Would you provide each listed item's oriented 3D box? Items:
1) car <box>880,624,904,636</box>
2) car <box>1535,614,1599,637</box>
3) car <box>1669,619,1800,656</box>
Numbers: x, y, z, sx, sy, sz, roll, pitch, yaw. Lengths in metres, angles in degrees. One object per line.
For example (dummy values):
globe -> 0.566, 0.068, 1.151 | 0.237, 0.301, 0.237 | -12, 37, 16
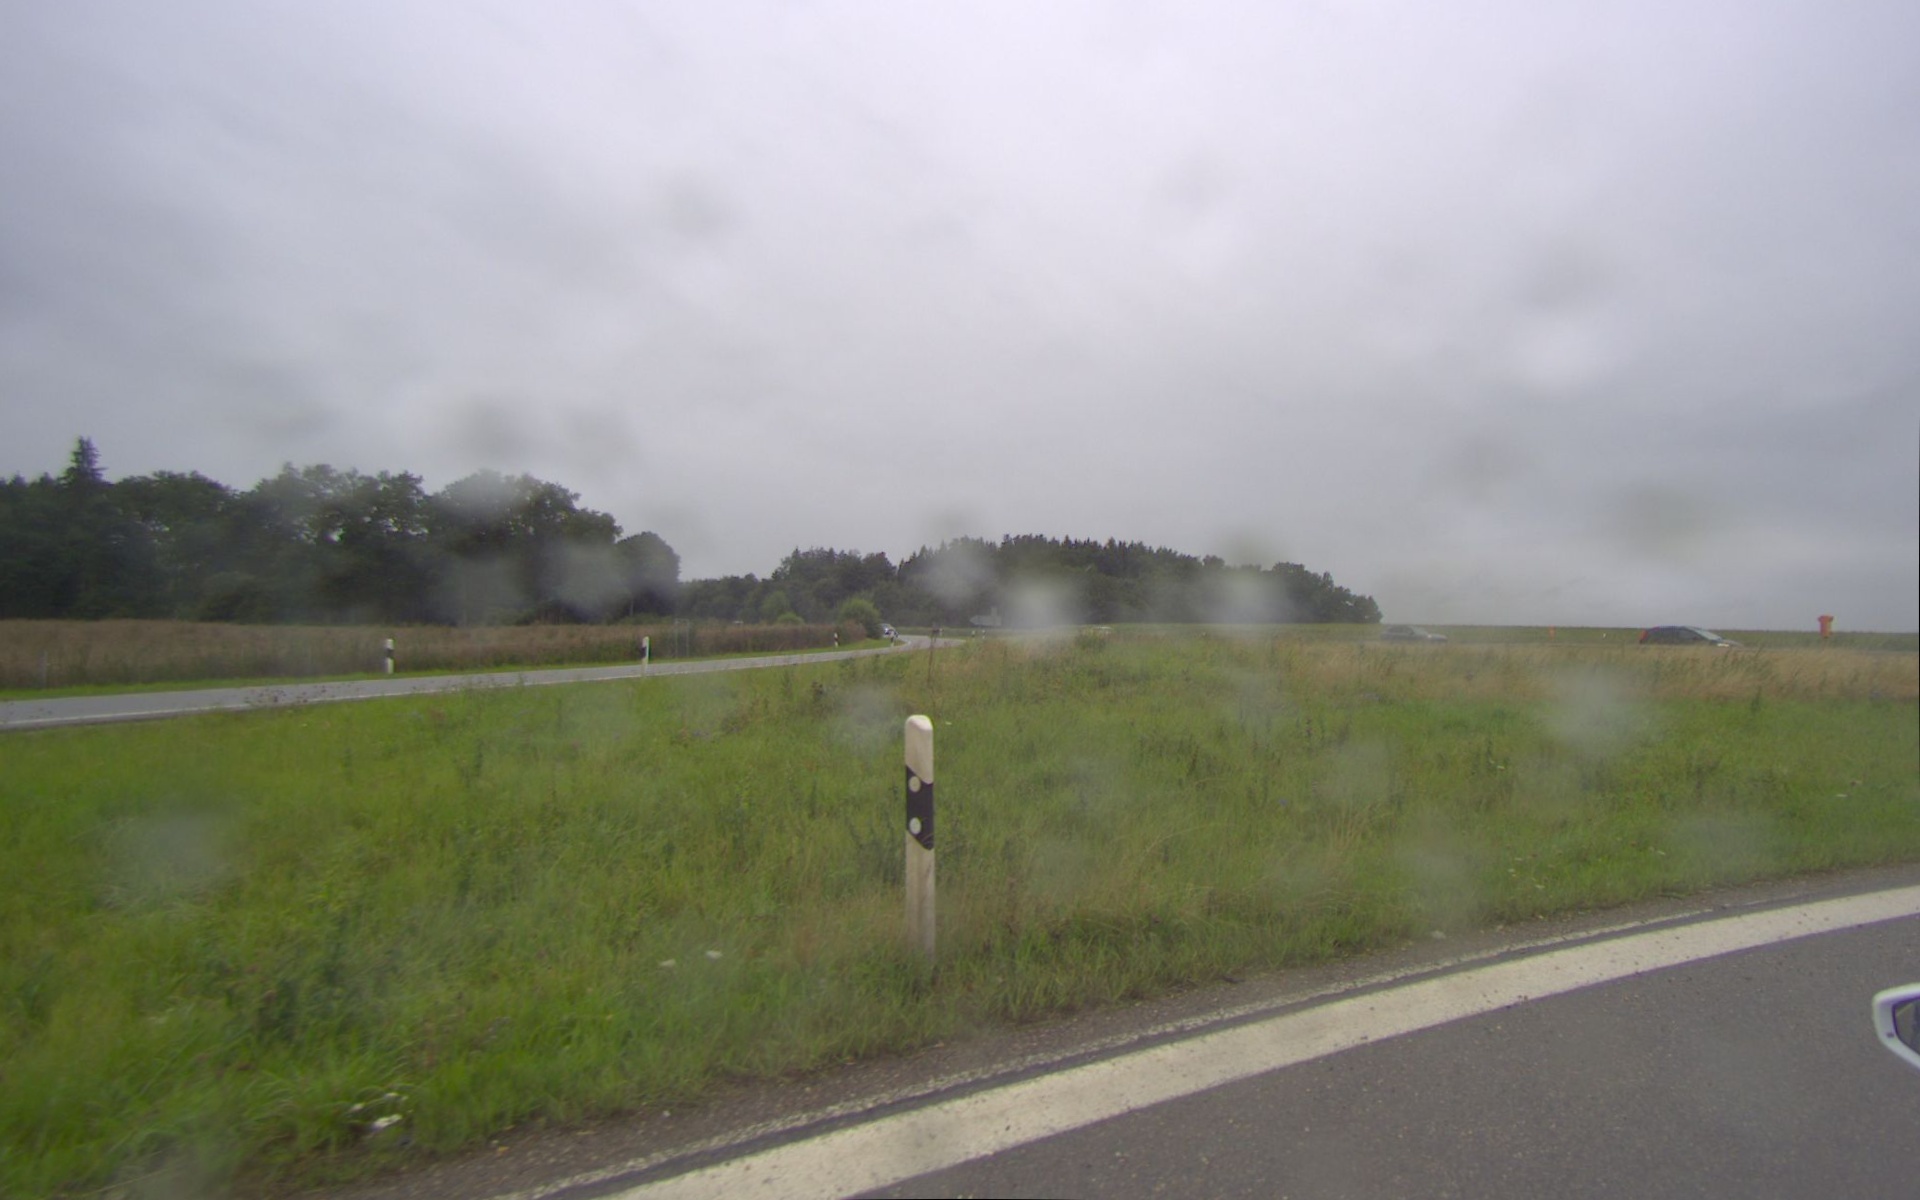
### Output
car -> -10.368, 4.529, 152.612 | 1.844, 1.655, 5.068 | 1, -2, -26
car -> 47.399, 1.971, 78.472 | 1.713, 1.759, 3.972 | 0, -2, -28
car -> 37.209, 1.760, 48.406 | 2.122, 1.658, 4.568 | 1, -1, -24
